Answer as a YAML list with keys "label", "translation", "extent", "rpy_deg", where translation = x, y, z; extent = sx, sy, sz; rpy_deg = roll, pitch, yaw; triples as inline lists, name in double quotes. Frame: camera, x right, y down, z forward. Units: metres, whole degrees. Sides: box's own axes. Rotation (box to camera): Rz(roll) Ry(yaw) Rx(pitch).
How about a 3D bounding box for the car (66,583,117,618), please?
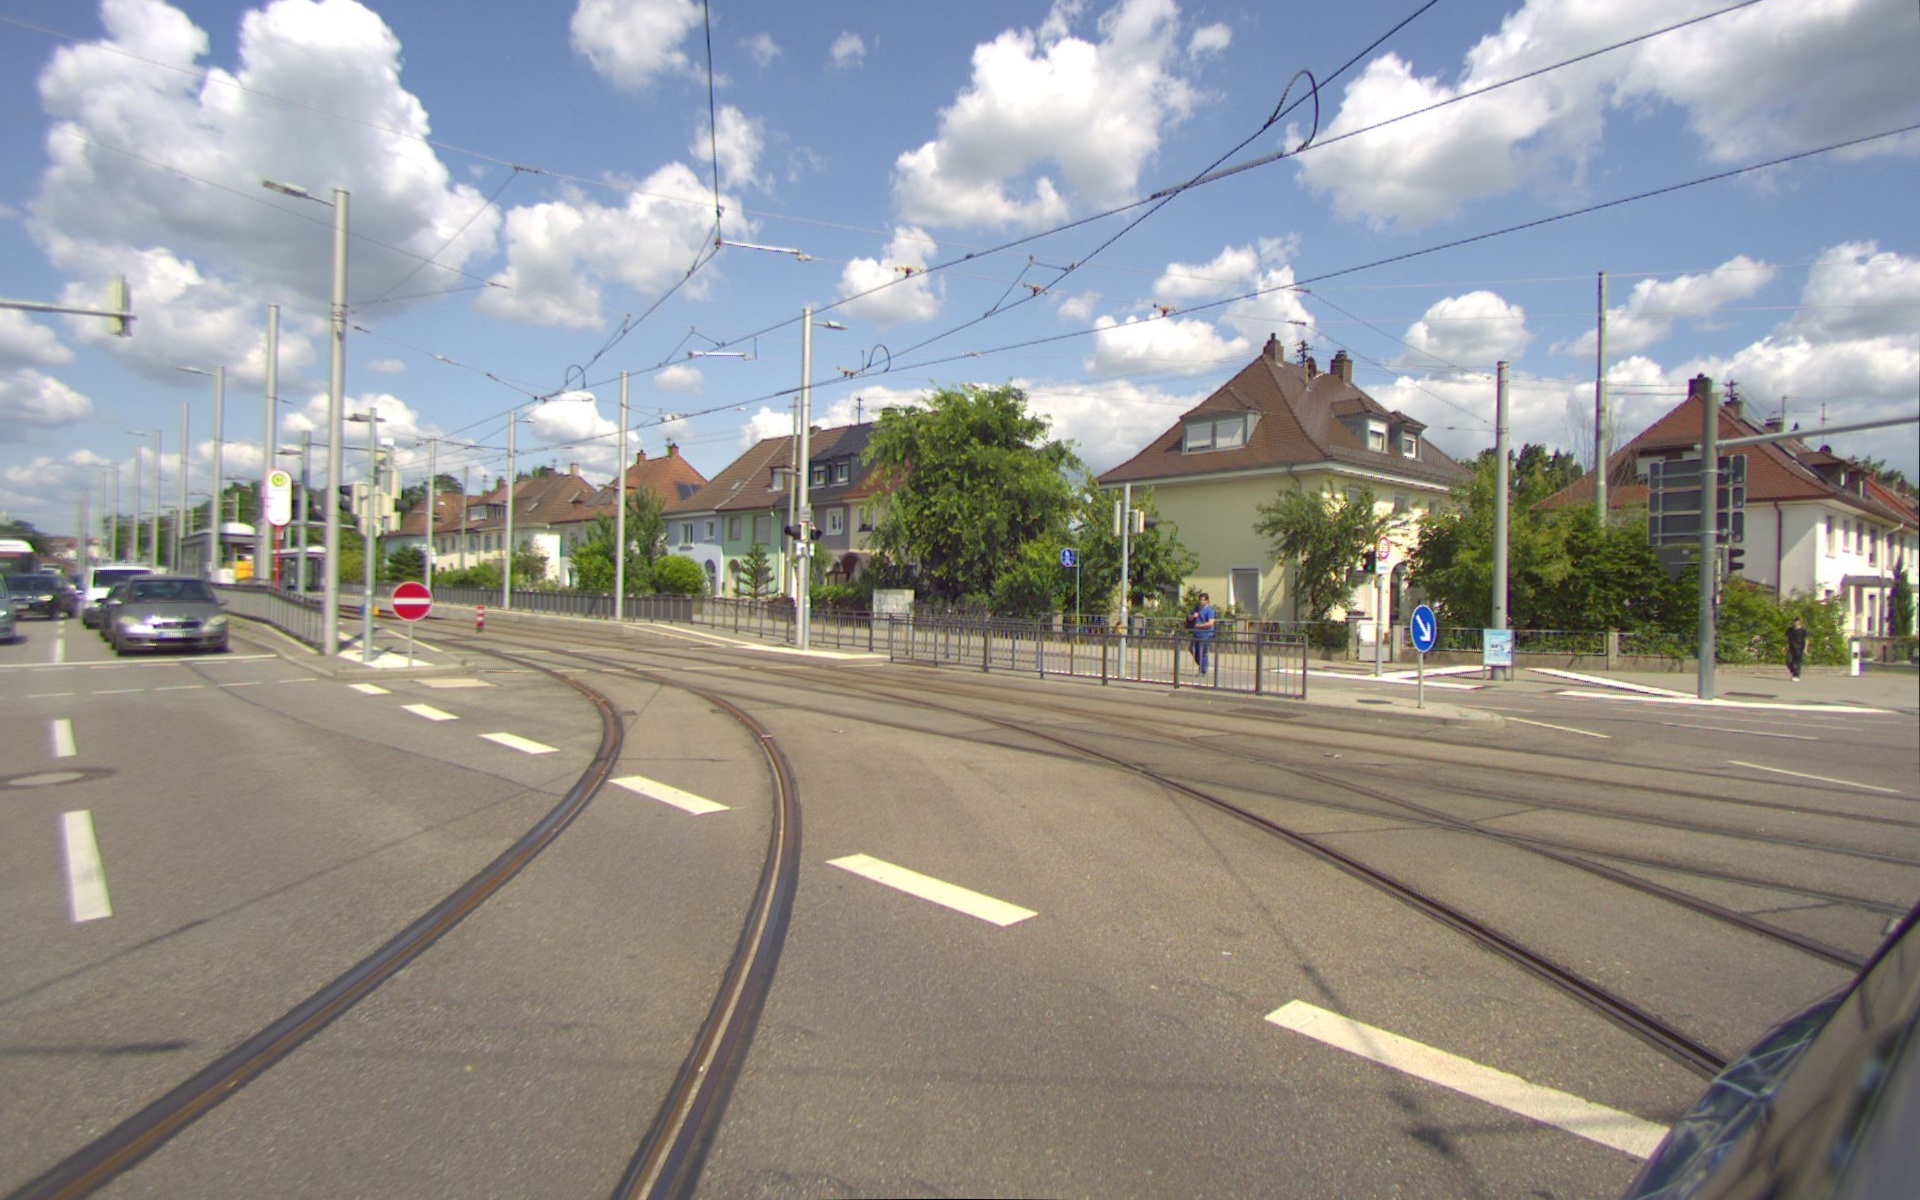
- label: "car"
  translation: [-49.073, 0.056, 57.179]
  extent: [1.967, 1.906, 3.990]
  rpy_deg: [1, -1, -44]

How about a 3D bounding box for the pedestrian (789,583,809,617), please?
- label: "pedestrian"
  translation: [-6.929, 0.016, 43.519]
  extent: [0.674, 1.450, 0.516]
  rpy_deg: [1, 0, -31]

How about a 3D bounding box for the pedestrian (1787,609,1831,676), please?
- label: "pedestrian"
  translation: [23.532, 1.168, 28.052]
  extent: [0.918, 1.790, 0.594]
  rpy_deg: [1, 0, -27]

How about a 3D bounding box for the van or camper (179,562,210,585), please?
- label: "van or camper"
  translation: [-120.176, -4.122, 158.925]
  extent: [2.958, 3.250, 7.105]
  rpy_deg: [1, -1, -44]

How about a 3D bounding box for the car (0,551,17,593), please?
- label: "car"
  translation: [-61.913, -1.792, 64.920]
  extent: [1.945, 2.660, 5.148]
  rpy_deg: [1, 0, -44]

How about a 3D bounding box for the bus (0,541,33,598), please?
- label: "bus"
  translation: [-55.719, -1.740, 58.767]
  extent: [2.468, 3.161, 6.636]
  rpy_deg: [1, 0, -45]

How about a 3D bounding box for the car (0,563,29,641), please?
- label: "car"
  translation: [-22.729, 0.007, 23.166]
  extent: [1.905, 1.713, 3.994]
  rpy_deg: [1, 0, -41]

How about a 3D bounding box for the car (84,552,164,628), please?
- label: "car"
  translation: [-26.103, -0.325, 31.579]
  extent: [1.782, 2.186, 4.841]
  rpy_deg: [1, 0, -41]

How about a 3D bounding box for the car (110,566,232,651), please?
- label: "car"
  translation: [-16.422, 0.137, 20.988]
  extent: [1.810, 1.588, 3.994]
  rpy_deg: [1, 0, -41]

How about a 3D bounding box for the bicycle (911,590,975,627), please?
- label: "bicycle"
  translation: [-0.674, 0.297, 38.749]
  extent: [2.793, 1.351, 0.613]
  rpy_deg: [1, 0, 44]

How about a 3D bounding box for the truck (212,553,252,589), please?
- label: "truck"
  translation: [-75.551, -2.961, 104.981]
  extent: [7.208, 3.449, 2.153]
  rpy_deg: [0, -1, 44]

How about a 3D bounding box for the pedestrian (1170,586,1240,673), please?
- label: "pedestrian"
  translation: [5.195, 0.603, 21.435]
  extent: [1.023, 1.757, 1.030]
  rpy_deg: [1, 0, -43]

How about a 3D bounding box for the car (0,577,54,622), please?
- label: "car"
  translation: [-31.816, -0.036, 34.299]
  extent: [1.534, 1.447, 3.586]
  rpy_deg: [1, 0, -41]
